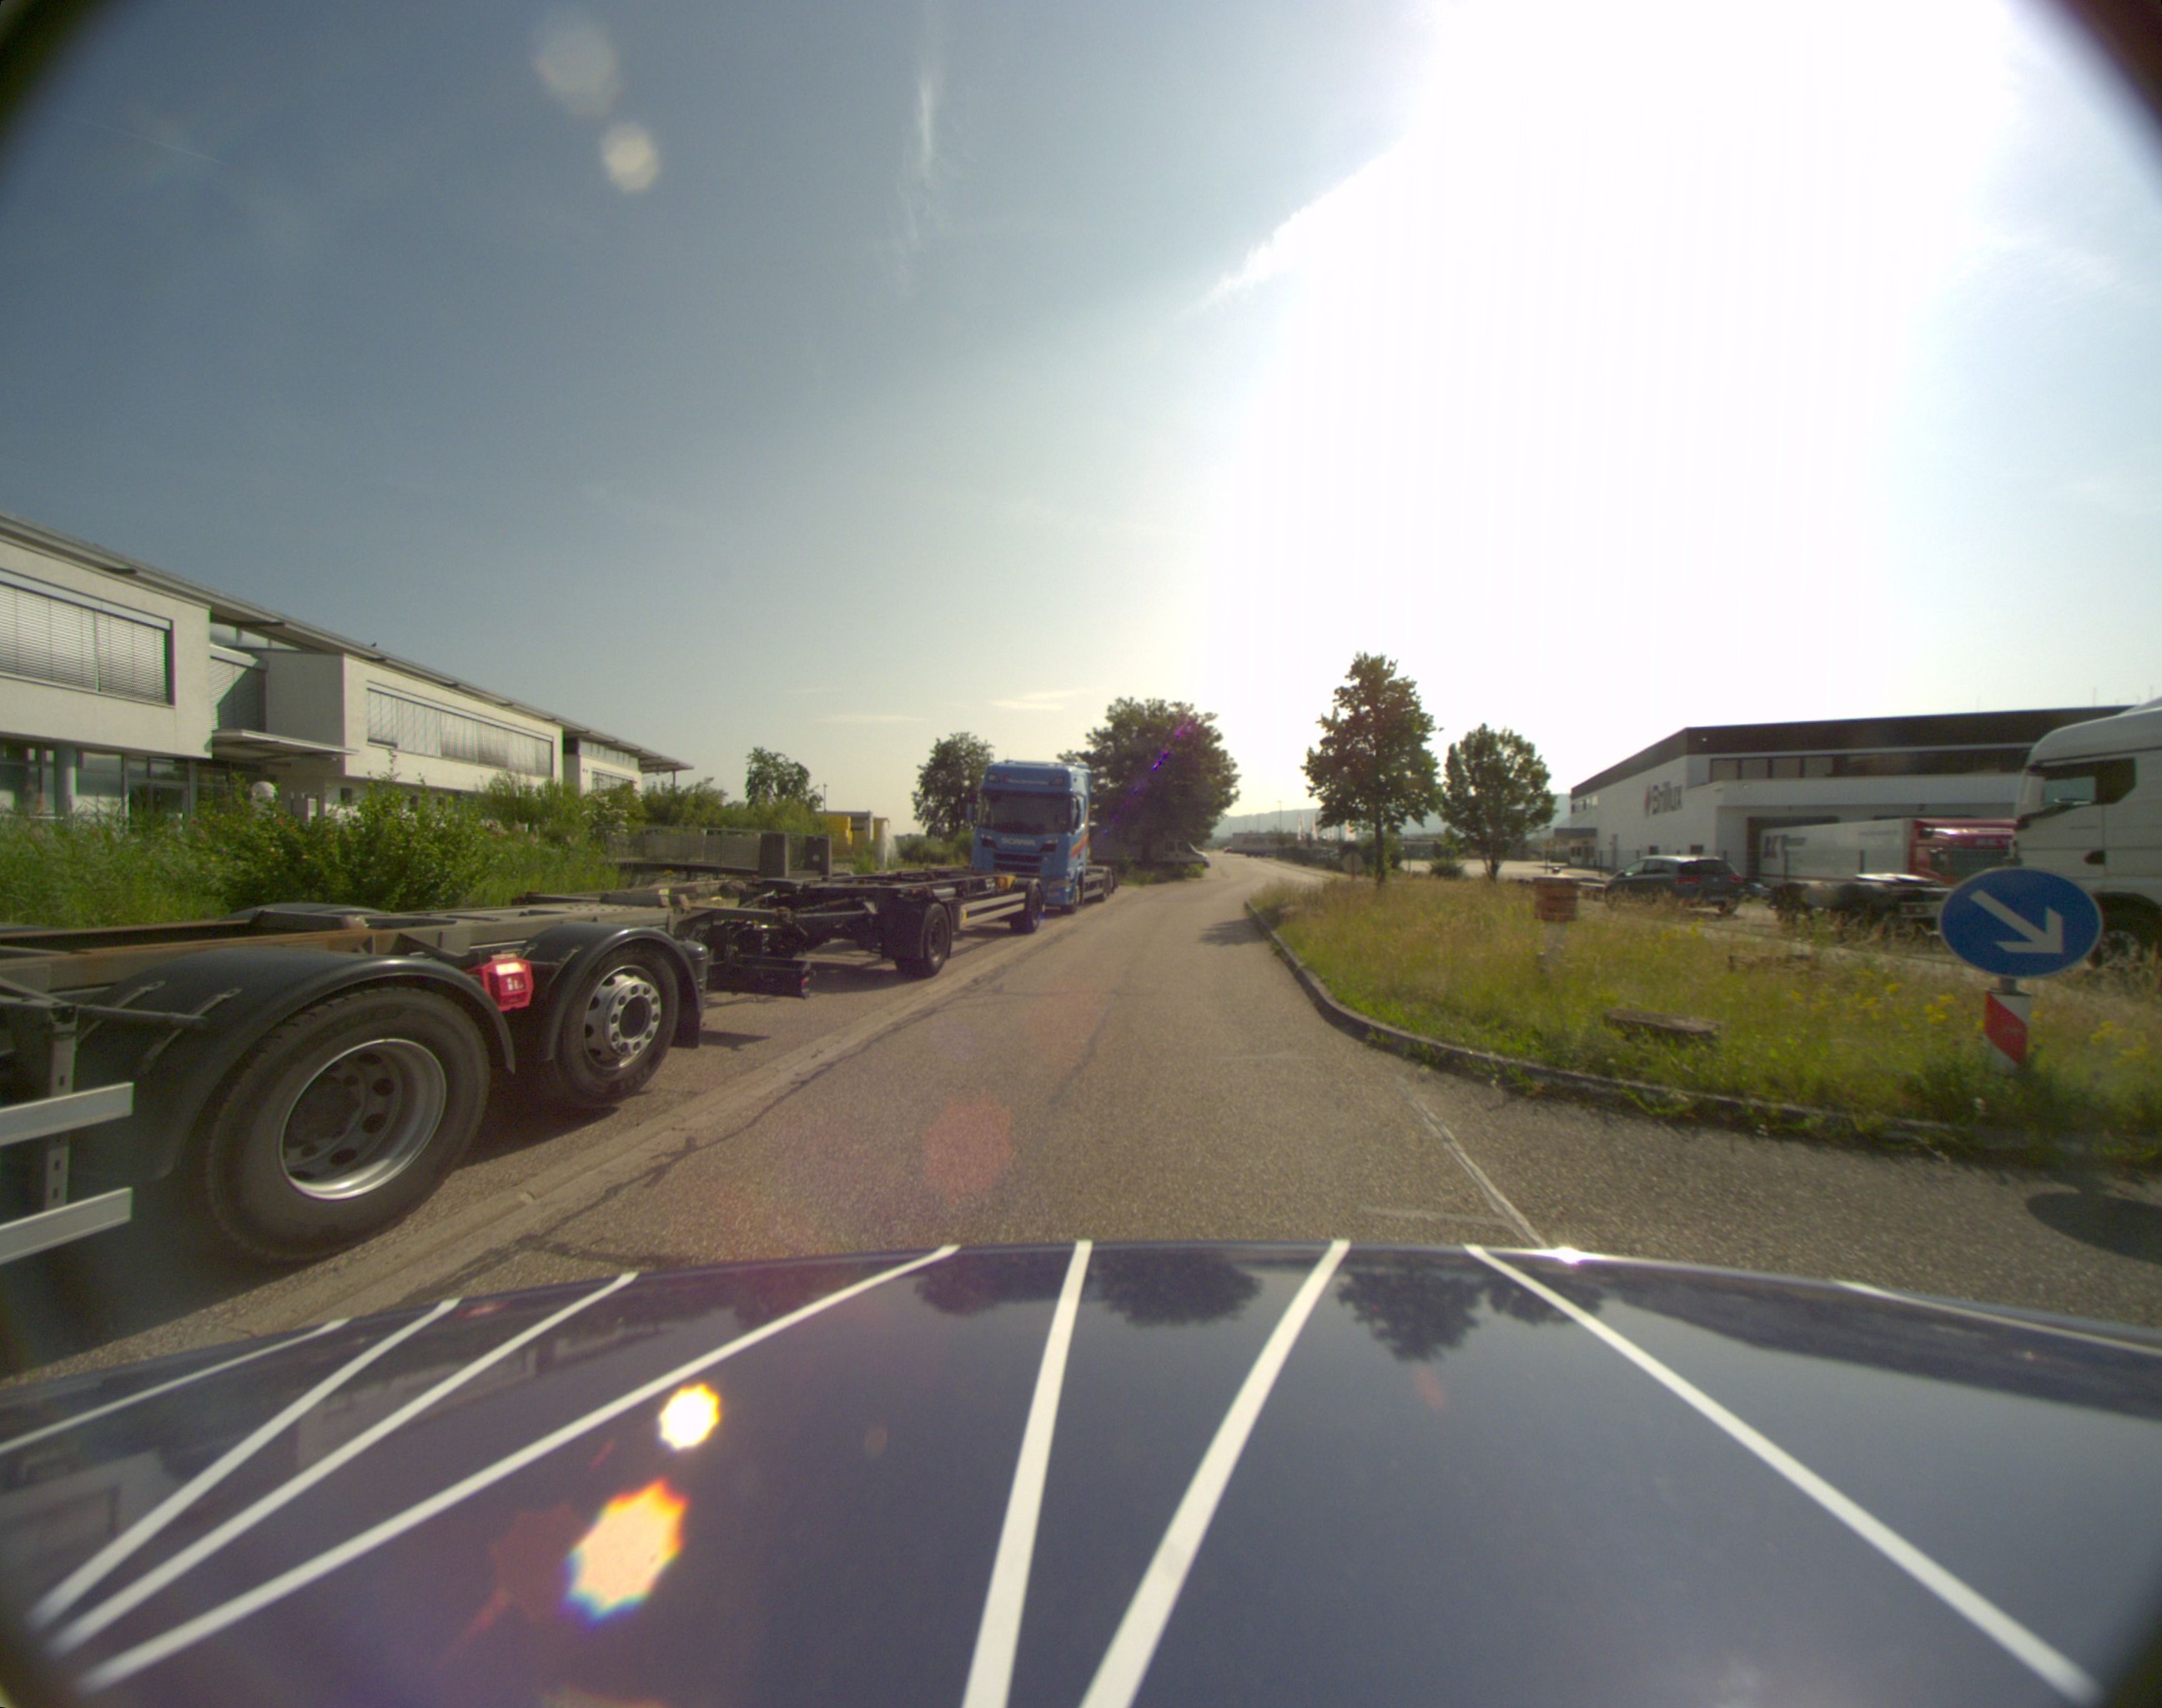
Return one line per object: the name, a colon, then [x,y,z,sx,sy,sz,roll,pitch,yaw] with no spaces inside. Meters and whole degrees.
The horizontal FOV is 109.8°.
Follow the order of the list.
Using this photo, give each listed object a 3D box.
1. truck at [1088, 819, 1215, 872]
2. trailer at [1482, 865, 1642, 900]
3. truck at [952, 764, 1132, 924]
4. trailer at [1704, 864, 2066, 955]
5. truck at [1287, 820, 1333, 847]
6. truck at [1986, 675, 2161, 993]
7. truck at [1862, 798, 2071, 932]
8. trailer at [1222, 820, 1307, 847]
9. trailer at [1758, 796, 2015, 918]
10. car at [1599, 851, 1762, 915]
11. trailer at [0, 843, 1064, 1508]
truck: [4.769,-0.620,51.154,8.223,3.351,2.742,1,2,9]
trailer: [17.721,0.997,28.557,2.552,0.920,6.713,-3,0,8]
truck: [-0.626,-0.378,22.308,2.892,3.516,9.760,4,2,10]
trailer: [16.018,0.992,15.752,2.685,1.445,5.081,0,0,11]
truck: [36.655,-3.250,121.652,3.404,4.184,6.081,-3,2,-43]
truck: [14.591,-0.273,9.054,2.714,3.900,4.298,-1,2,9]
truck: [29.742,0.255,25.893,2.515,4.048,5.551,-1,2,25]
trailer: [30.671,-3.297,127.593,3.506,4.184,14.192,-3,2,-43]
trailer: [32.486,-0.132,31.750,2.484,4.019,13.909,-1,2,25]
car: [16.636,0.738,21.395,1.699,1.552,4.338,-2,0,10]
trailer: [-3.105,0.733,7.638,2.750,1.565,16.181,3,1,10]
